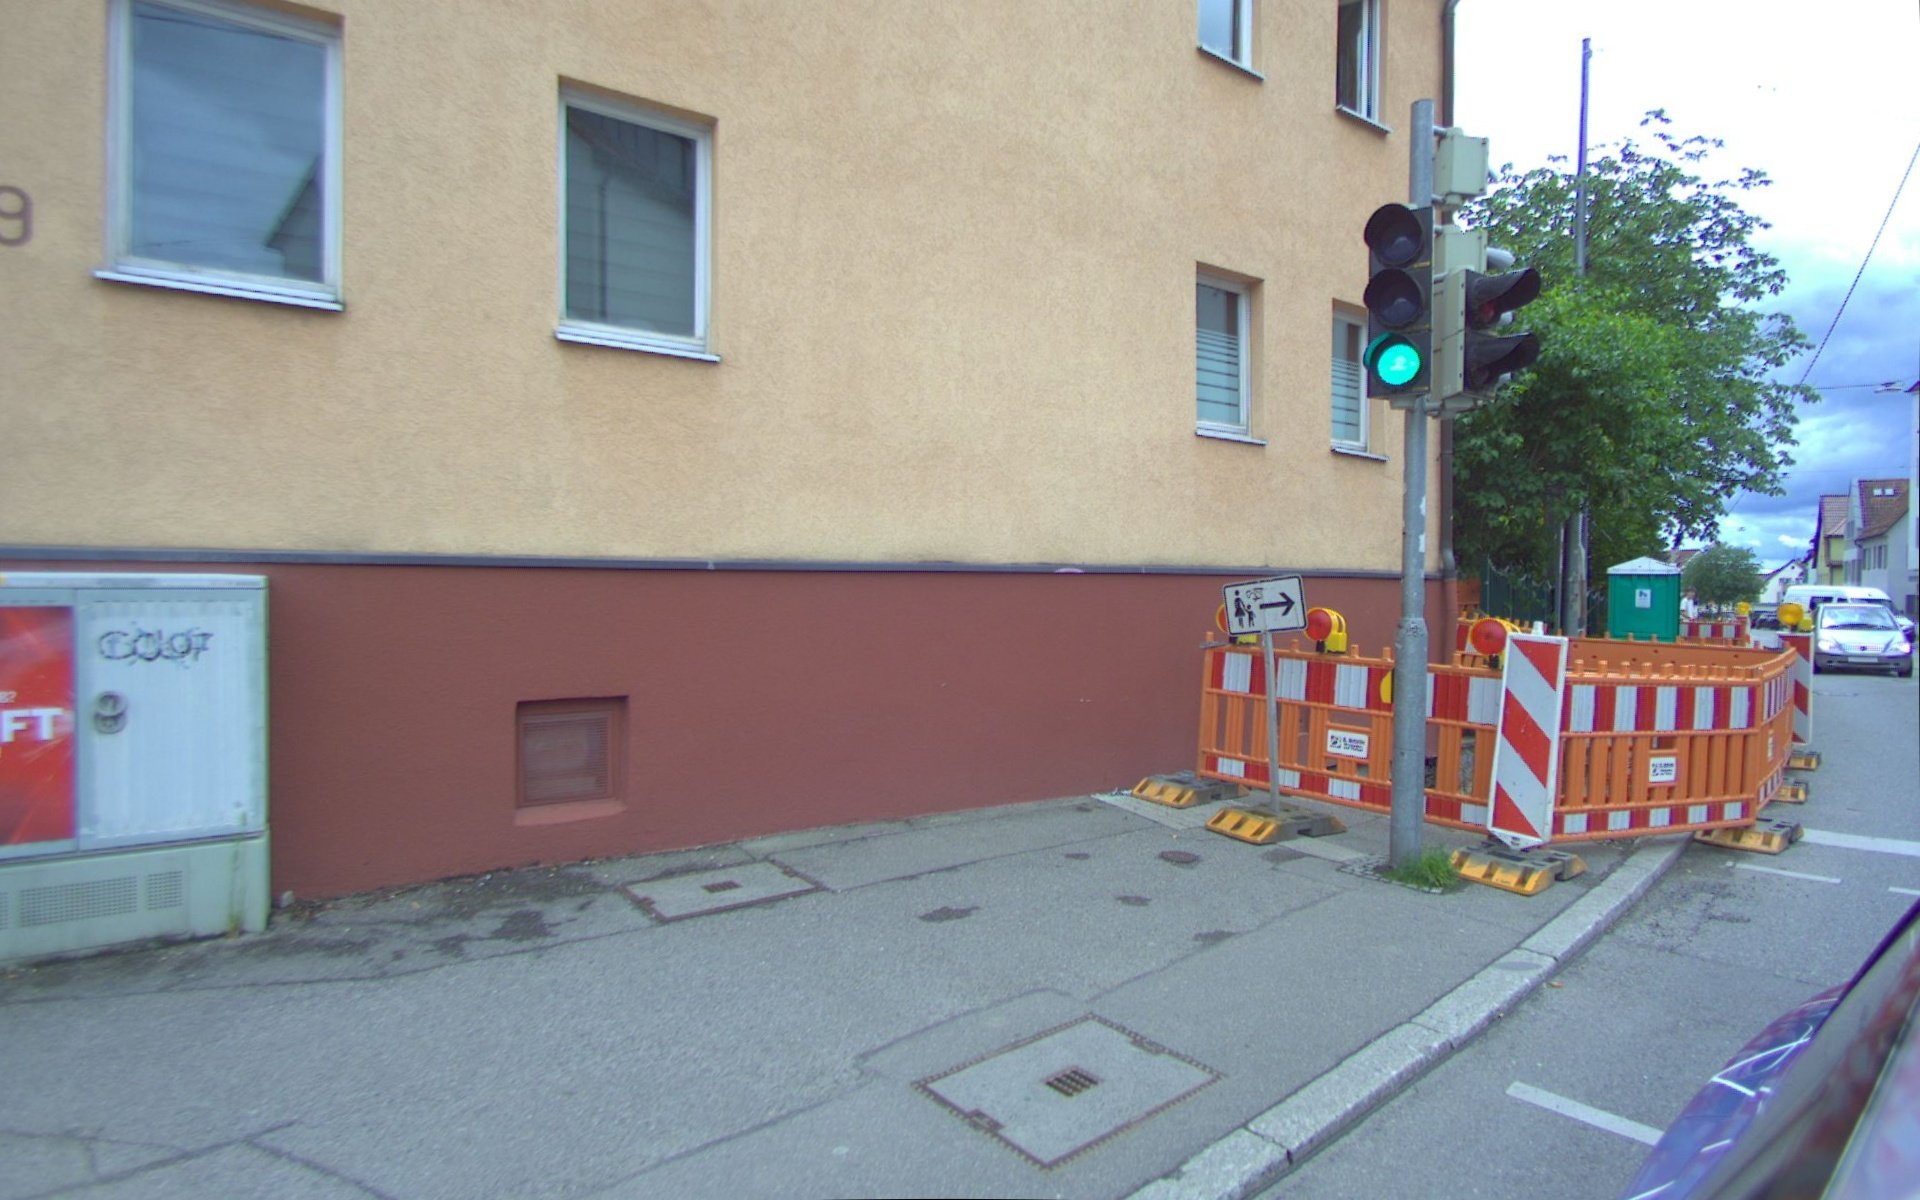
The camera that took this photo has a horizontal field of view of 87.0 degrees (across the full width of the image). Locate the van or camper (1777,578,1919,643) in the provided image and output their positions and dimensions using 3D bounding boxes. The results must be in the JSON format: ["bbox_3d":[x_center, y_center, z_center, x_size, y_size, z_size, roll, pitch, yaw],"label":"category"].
[{"bbox_3d":[39.568,0.415,44.537,2.283,2.640,6.205,2,0,2],"label":"van or camper"}]

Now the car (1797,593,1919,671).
[{"bbox_3d":[20.780,0.706,23.394,1.848,1.576,4.295,2,1,36],"label":"car"}]

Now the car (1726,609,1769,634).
[{"bbox_3d":[52.252,1.400,67.175,2.890,1.539,1.816,2,0,-43],"label":"car"}]

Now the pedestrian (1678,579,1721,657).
[{"bbox_3d":[19.265,0.448,26.393,0.795,1.974,0.826,2,0,33],"label":"pedestrian"}]

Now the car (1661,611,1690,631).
[{"bbox_3d":[55.240,1.604,78.111,1.711,1.499,3.945,2,0,37],"label":"car"}]
